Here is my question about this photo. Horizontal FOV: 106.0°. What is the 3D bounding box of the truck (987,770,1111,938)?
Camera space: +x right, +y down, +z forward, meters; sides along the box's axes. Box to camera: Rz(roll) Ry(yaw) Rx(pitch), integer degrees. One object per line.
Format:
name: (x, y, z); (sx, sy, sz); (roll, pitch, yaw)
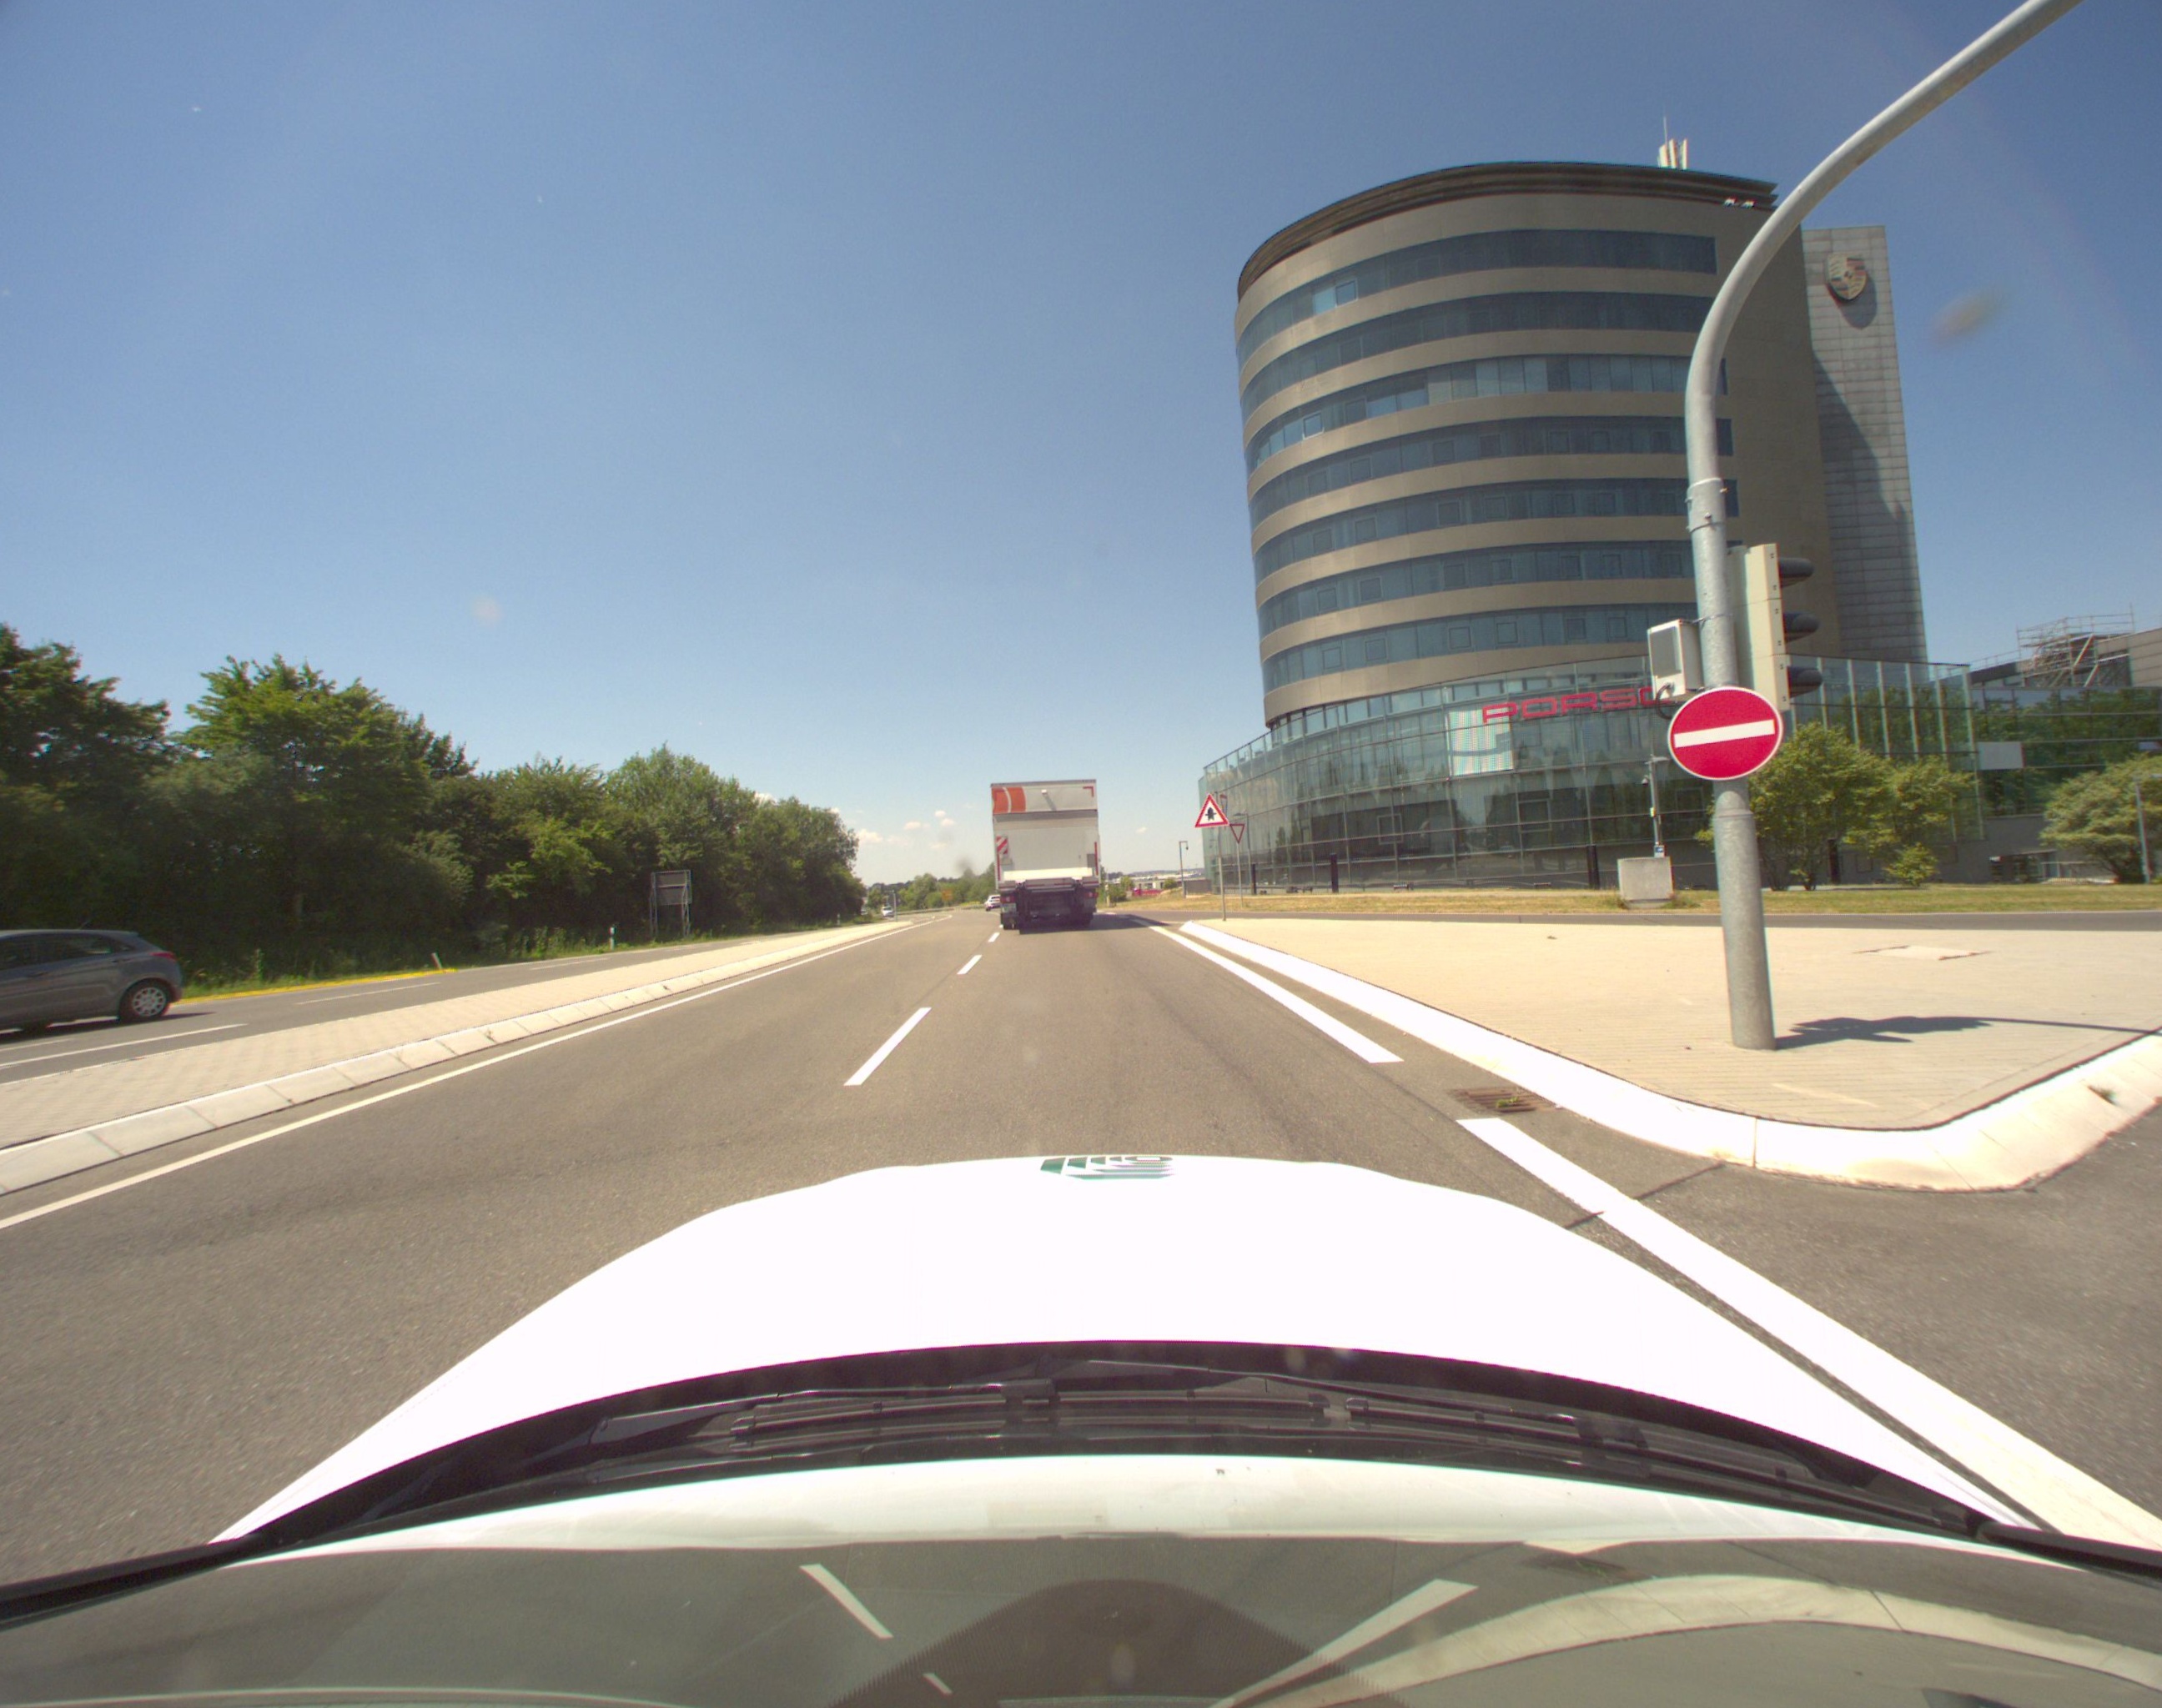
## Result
truck: (-1.092, 0.080, 24.011); (2.764, 3.860, 9.355); (-3, -1, -4)

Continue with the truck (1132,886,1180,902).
truck: (16.775, 9.004, 183.015); (10.274, 3.220, 2.469); (-2, -1, 21)

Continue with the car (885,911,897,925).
car: (-31.883, 10.727, 136.635); (1.807, 1.970, 3.976); (-1, -1, -17)

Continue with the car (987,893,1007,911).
car: (-8.344, 4.694, 80.631); (1.801, 1.557, 3.989); (-2, -1, -7)

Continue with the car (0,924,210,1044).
car: (-14.748, 1.801, 10.802); (1.686, 1.456, 4.327); (-5, -3, 0)
